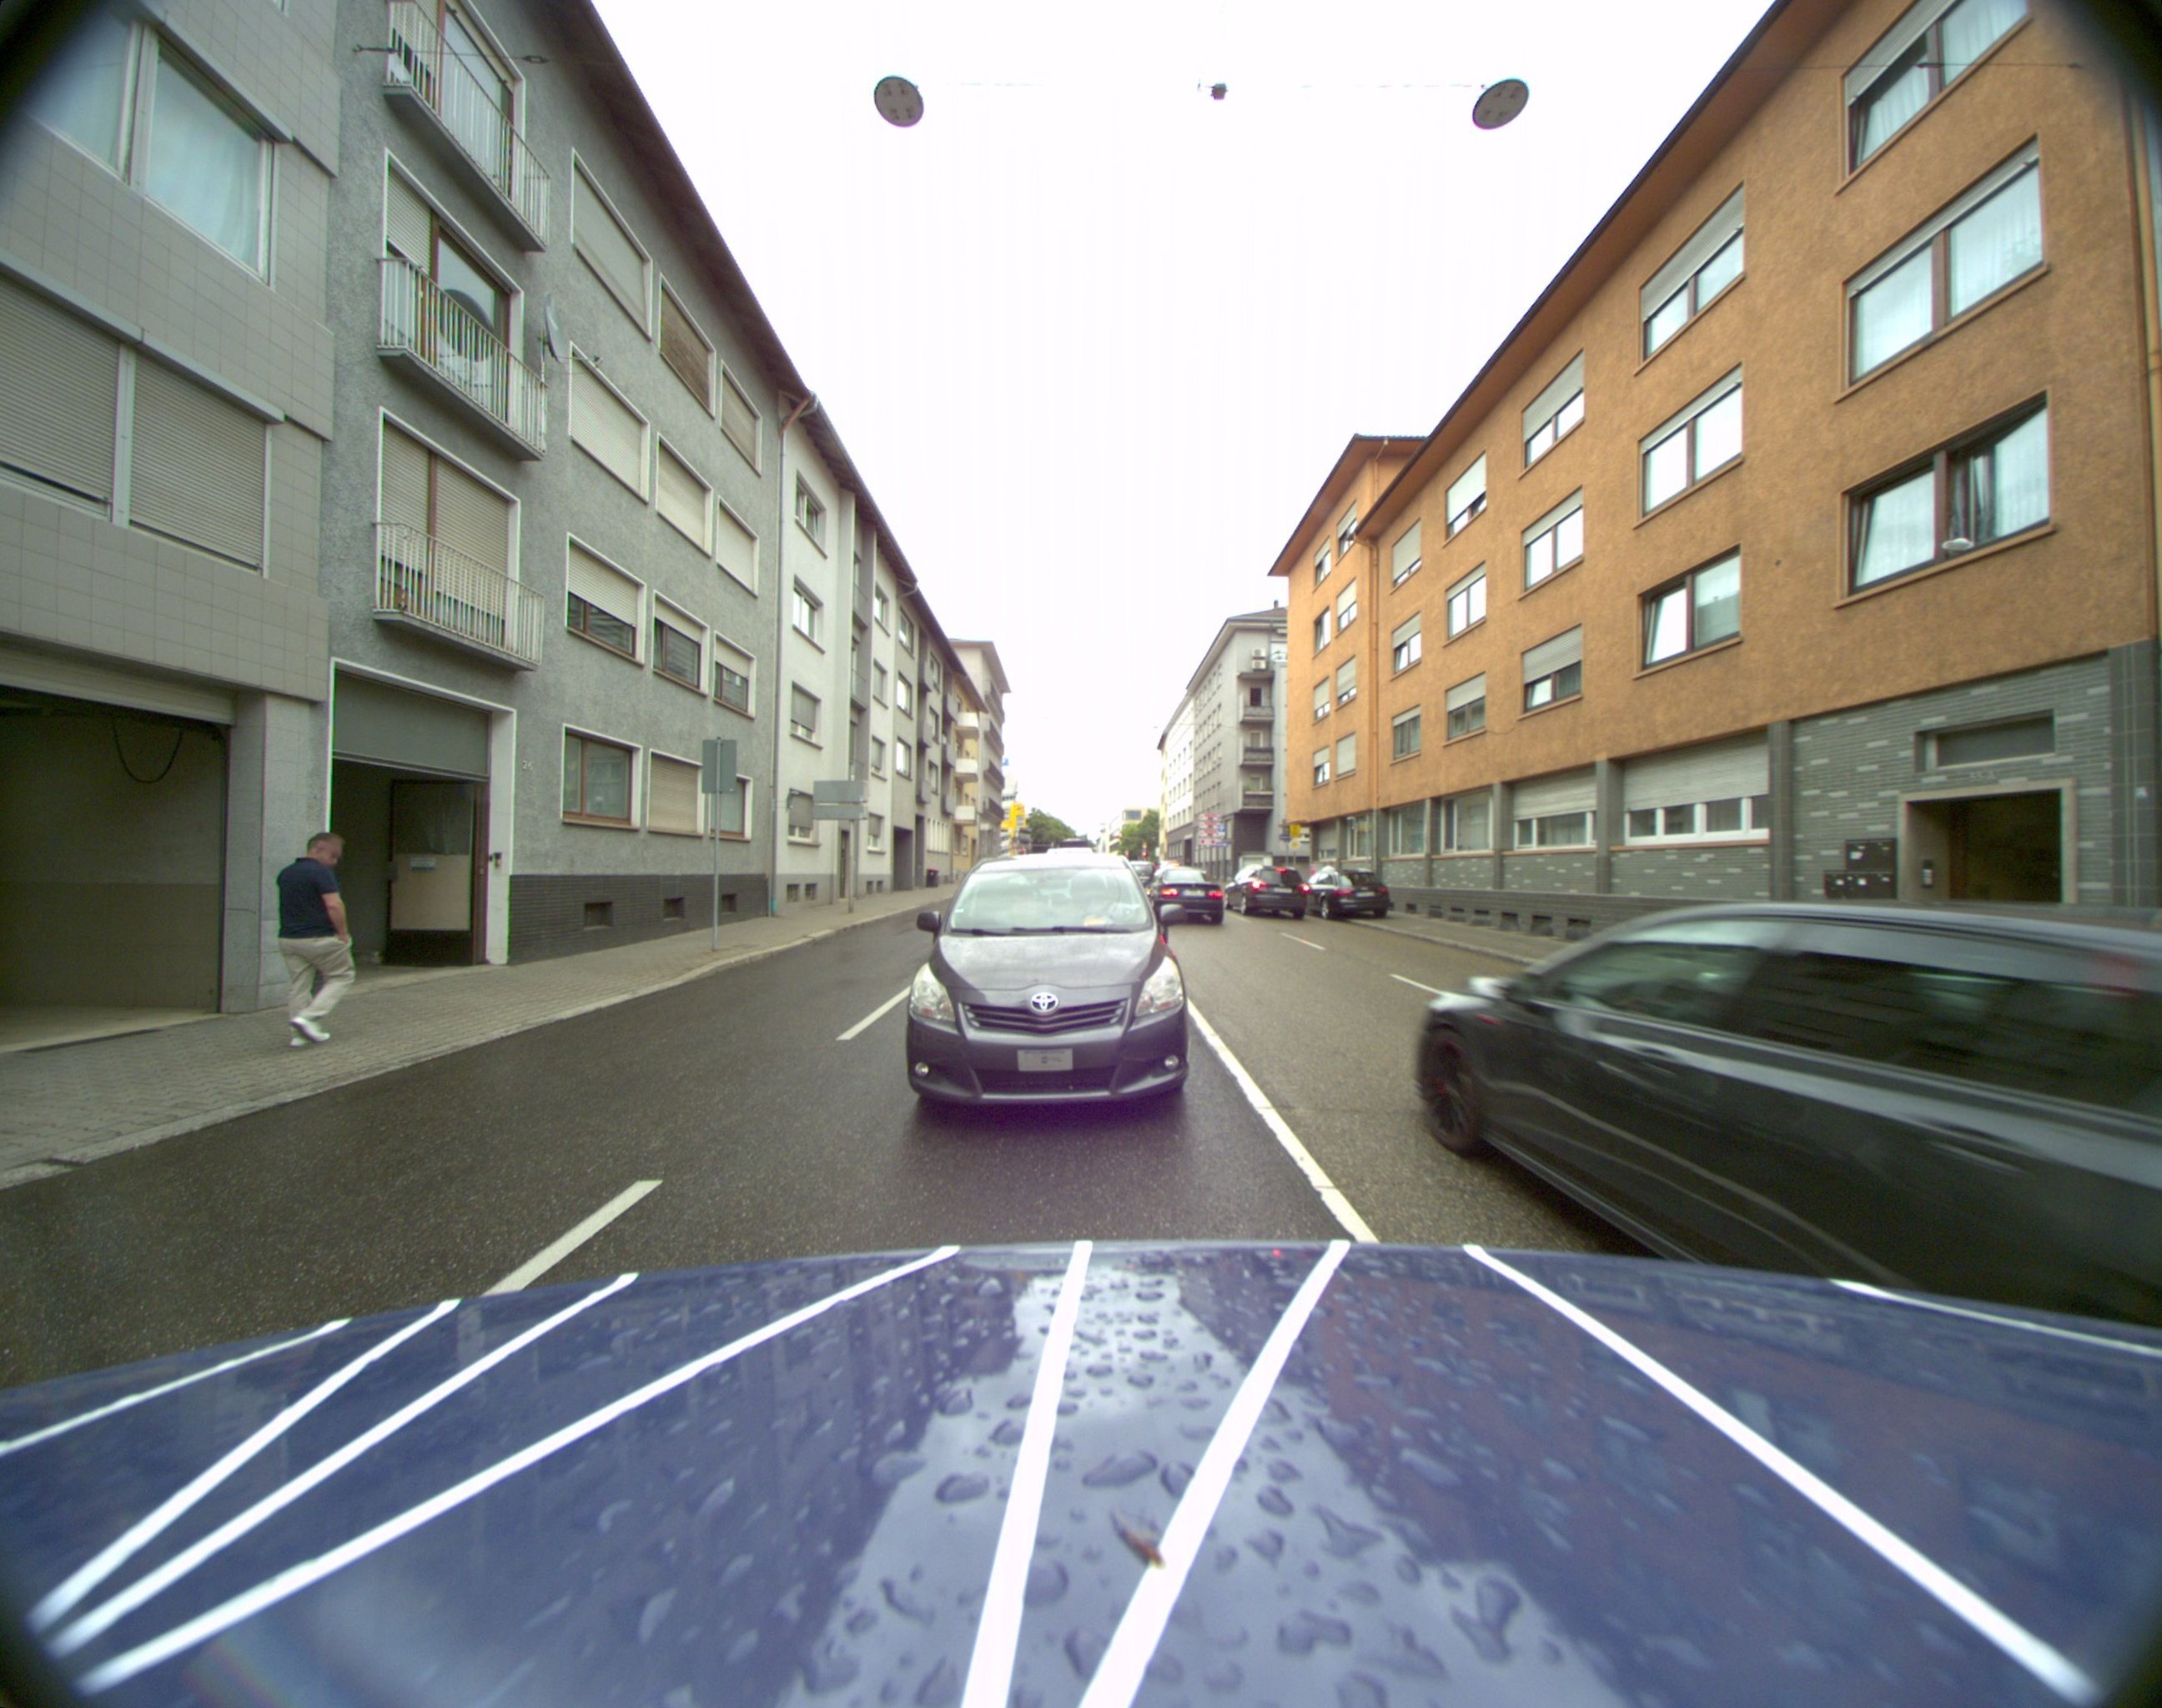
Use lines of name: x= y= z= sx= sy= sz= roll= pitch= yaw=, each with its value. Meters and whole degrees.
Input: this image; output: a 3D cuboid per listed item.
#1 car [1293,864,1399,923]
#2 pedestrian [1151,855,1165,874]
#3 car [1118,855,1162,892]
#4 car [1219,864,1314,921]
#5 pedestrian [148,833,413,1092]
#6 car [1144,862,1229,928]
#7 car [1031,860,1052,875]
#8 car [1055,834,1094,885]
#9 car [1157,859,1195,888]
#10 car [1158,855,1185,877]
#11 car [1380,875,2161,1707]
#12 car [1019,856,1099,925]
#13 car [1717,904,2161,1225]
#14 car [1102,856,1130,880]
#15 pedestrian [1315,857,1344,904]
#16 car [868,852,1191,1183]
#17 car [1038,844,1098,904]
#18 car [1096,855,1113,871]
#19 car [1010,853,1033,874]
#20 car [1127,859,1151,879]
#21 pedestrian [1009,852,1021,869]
car: x=8.044 y=1.139 z=23.463 sx=1.799 sy=1.466 sz=4.217 roll=-2 pitch=1 yaw=1
pedestrian: x=8.457 y=1.197 z=83.726 sx=1.309 sy=2.002 sz=1.258 roll=-2 pitch=1 yaw=1
car: x=2.747 y=0.881 z=36.271 sx=1.622 sy=1.530 sz=4.216 roll=2 pitch=1 yaw=-1
car: x=5.558 y=1.093 z=23.274 sx=1.727 sy=1.464 sz=4.373 roll=2 pitch=0 yaw=-1
pedestrian: x=-6.410 y=0.800 z=6.171 sx=0.871 sy=1.855 sz=1.120 roll=4 pitch=1 yaw=1
car: x=2.646 y=0.986 z=19.924 sx=1.699 sy=1.362 sz=4.217 roll=2 pitch=1 yaw=1
car: x=-4.095 y=1.371 z=78.625 sx=1.856 sy=1.369 sz=4.217 roll=-2 pitch=1 yaw=1
car: x=-0.331 y=0.290 z=43.647 sx=2.033 sy=2.731 sz=4.368 roll=-2 pitch=1 yaw=1
car: x=5.887 y=1.196 z=47.413 sx=1.699 sy=1.530 sz=4.435 roll=4 pitch=1 yaw=0
car: x=7.816 y=0.985 z=65.755 sx=1.856 sy=1.712 sz=4.217 roll=-2 pitch=1 yaw=1
car: x=2.755 y=0.988 z=2.606 sx=1.699 sy=1.571 sz=4.216 roll=2 pitch=1 yaw=0
car: x=-0.505 y=0.886 z=20.098 sx=1.856 sy=1.524 sz=3.792 roll=-2 pitch=1 yaw=1
car: x=6.117 y=1.156 z=4.041 sx=1.699 sy=1.362 sz=4.365 roll=3 pitch=1 yaw=-1
car: x=2.431 y=0.977 z=53.613 sx=1.749 sy=1.530 sz=4.052 roll=2 pitch=1 yaw=-1
pedestrian: x=9.133 y=0.965 z=27.988 sx=0.768 sy=1.630 sz=1.023 roll=-2 pitch=1 yaw=5
car: x=-0.252 y=0.895 z=6.255 sx=1.699 sy=1.712 sz=4.217 roll=-2 pitch=1 yaw=1
car: x=-0.396 y=0.629 z=26.604 sx=1.856 sy=1.882 sz=4.217 roll=-2 pitch=1 yaw=1
car: x=2.844 y=1.057 z=92.788 sx=1.856 sy=1.712 sz=4.217 roll=-2 pitch=1 yaw=1
car: x=-5.130 y=0.783 z=65.889 sx=1.856 sy=1.663 sz=4.215 roll=-2 pitch=1 yaw=-4
car: x=5.454 y=1.358 z=71.660 sx=1.856 sy=1.651 sz=4.610 roll=-2 pitch=1 yaw=1
pedestrian: x=-6.786 y=0.698 z=78.063 sx=1.119 sy=1.741 sz=0.961 roll=1 pitch=1 yaw=-5
